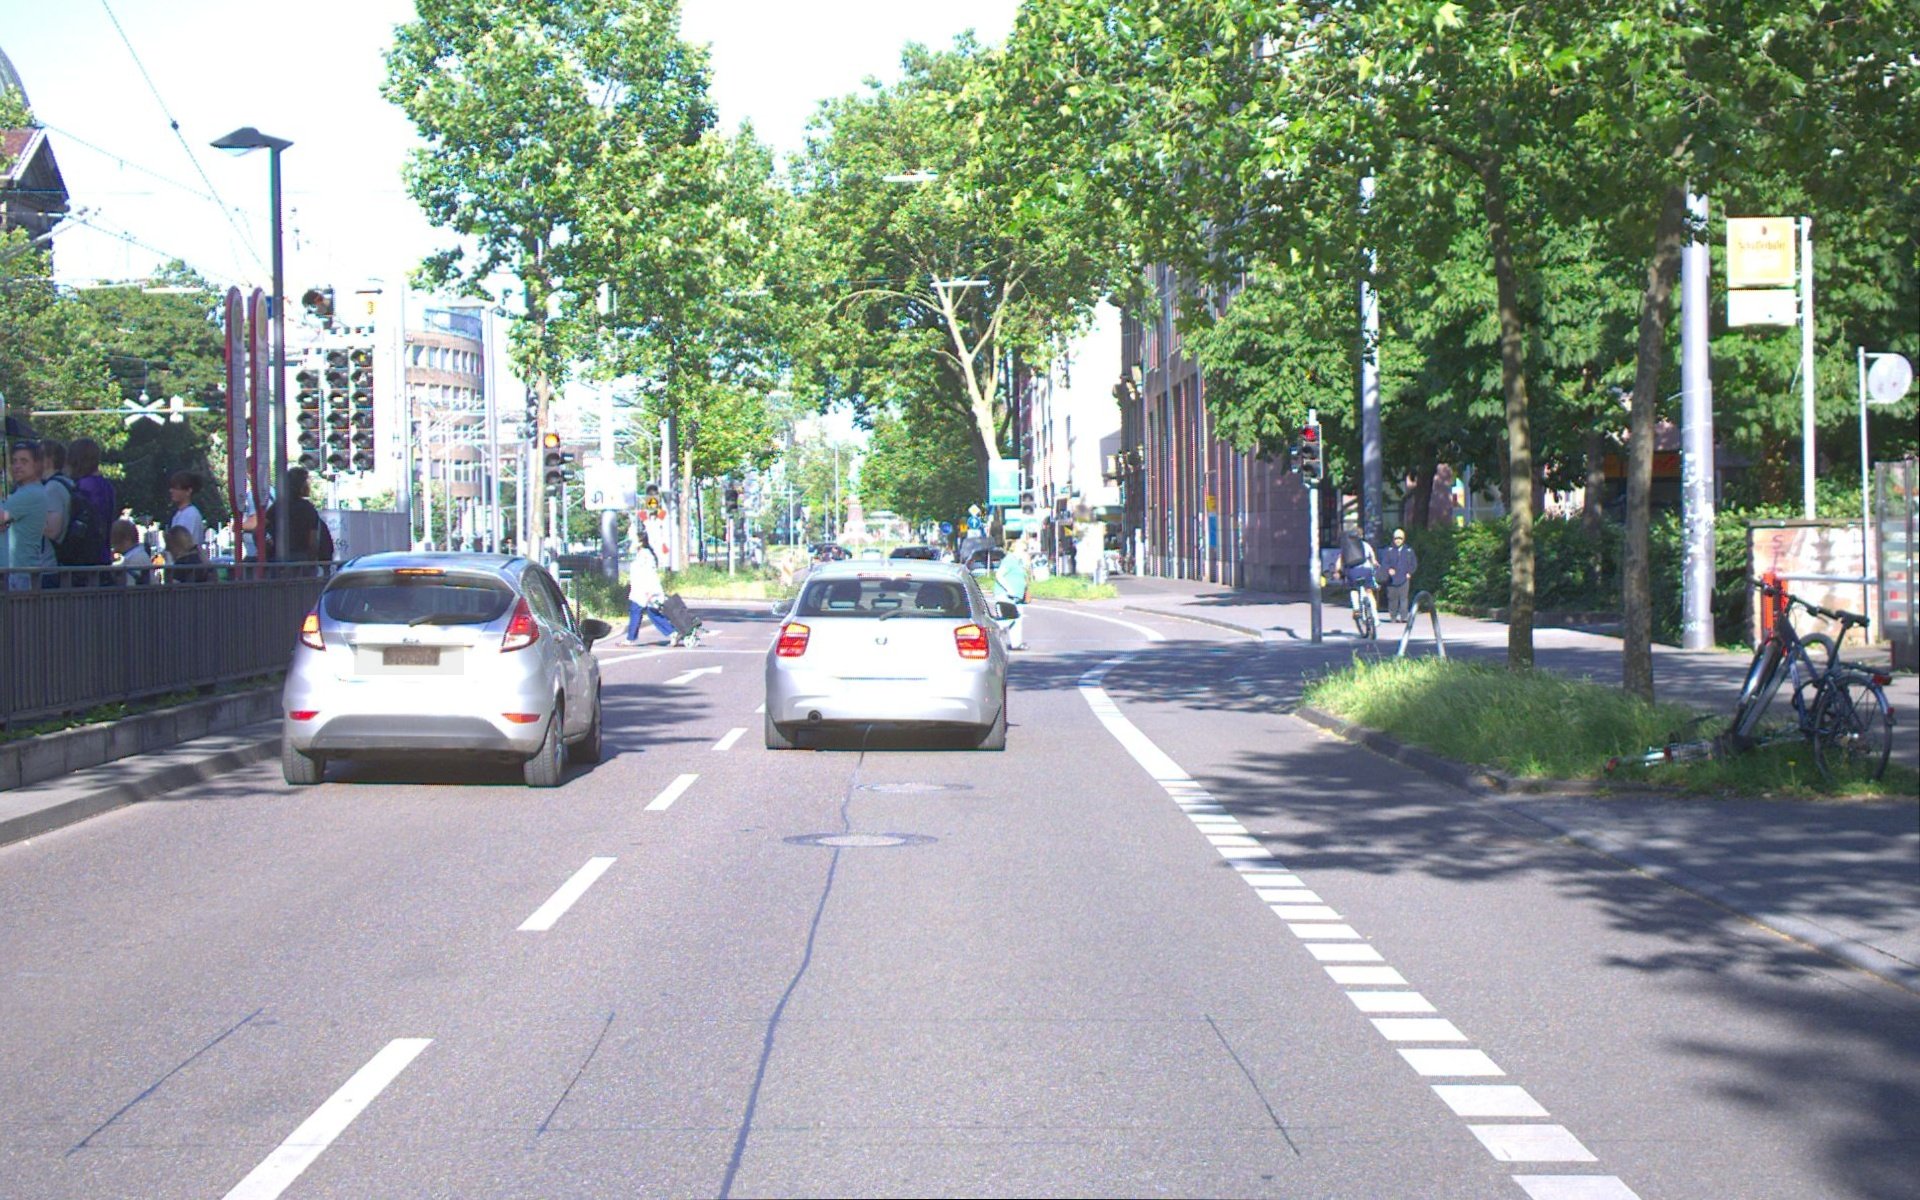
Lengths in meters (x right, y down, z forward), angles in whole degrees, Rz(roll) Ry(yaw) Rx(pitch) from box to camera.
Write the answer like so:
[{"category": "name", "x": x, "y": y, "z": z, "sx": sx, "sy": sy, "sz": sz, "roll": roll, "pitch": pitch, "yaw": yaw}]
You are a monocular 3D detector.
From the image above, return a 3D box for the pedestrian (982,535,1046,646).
[{"category": "pedestrian", "x": 0.776, "y": -0.132, "z": 49.177, "sx": 0.830, "sy": 1.570, "sz": 0.739, "roll": 0, "pitch": 1, "yaw": 7}]

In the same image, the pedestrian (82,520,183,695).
[{"category": "pedestrian", "x": -5.752, "y": 0.044, "z": 23.908, "sx": 0.545, "sy": 1.188, "sz": 0.531, "roll": -2, "pitch": 1, "yaw": -1}]

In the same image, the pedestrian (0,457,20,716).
[{"category": "pedestrian", "x": -6.567, "y": -0.088, "z": 22.682, "sx": 0.514, "sy": 1.702, "sz": 0.621, "roll": -2, "pitch": 1, "yaw": -1}]

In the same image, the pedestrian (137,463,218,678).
[{"category": "pedestrian", "x": -6.290, "y": -0.239, "z": 27.642, "sx": 0.505, "sy": 1.696, "sz": 0.612, "roll": -2, "pitch": 1, "yaw": -4}]

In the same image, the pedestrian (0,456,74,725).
[{"category": "pedestrian", "x": -5.883, "y": -0.059, "z": 21.149, "sx": 0.660, "sy": 1.628, "sz": 0.571, "roll": -1, "pitch": 1, "yaw": 1}]

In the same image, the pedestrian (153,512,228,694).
[{"category": "pedestrian", "x": -5.635, "y": 0.019, "z": 25.176, "sx": 0.415, "sy": 1.311, "sz": 0.507, "roll": -2, "pitch": 1, "yaw": -2}]

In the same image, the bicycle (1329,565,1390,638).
[{"category": "bicycle", "x": 6.096, "y": 0.018, "z": 52.375, "sx": 0.832, "sy": 1.038, "sz": 1.874, "roll": -2, "pitch": 1, "yaw": 8}]

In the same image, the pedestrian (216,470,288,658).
[{"category": "pedestrian", "x": -6.632, "y": -0.339, "z": 32.206, "sx": 0.547, "sy": 1.728, "sz": 0.540, "roll": -2, "pitch": 1, "yaw": -4}]

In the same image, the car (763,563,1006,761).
[{"category": "car", "x": -0.580, "y": 0.423, "z": 26.475, "sx": 1.730, "sy": 1.386, "sz": 3.840, "roll": 0, "pitch": 1, "yaw": -1}]

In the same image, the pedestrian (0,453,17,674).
[{"category": "pedestrian", "x": -7.689, "y": -0.278, "z": 26.505, "sx": 0.632, "sy": 1.696, "sz": 0.747, "roll": -2, "pitch": 1, "yaw": -4}]

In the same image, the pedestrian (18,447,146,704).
[{"category": "pedestrian", "x": -5.887, "y": -0.169, "z": 23.065, "sx": 0.660, "sy": 1.690, "sz": 0.571, "roll": -1, "pitch": 1, "yaw": 1}]

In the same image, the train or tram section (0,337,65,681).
[{"category": "train or tram section", "x": -10.492, "y": -0.864, "z": 28.310, "sx": 2.914, "sy": 3.249, "sz": 13.113, "roll": 1, "pitch": 0, "yaw": -1}]

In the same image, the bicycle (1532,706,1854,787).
[{"category": "bicycle", "x": 4.335, "y": 0.867, "z": 20.490, "sx": 1.608, "sy": 0.352, "sz": 1.389, "roll": -2, "pitch": 1, "yaw": 0}]

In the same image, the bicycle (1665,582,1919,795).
[{"category": "bicycle", "x": 4.846, "y": 0.480, "z": 19.888, "sx": 0.788, "sy": 1.129, "sz": 1.847, "roll": -2, "pitch": 1, "yaw": -13}]

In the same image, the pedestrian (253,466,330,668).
[{"category": "pedestrian", "x": -5.806, "y": -0.290, "z": 29.880, "sx": 0.547, "sy": 1.728, "sz": 0.540, "roll": -2, "pitch": 1, "yaw": -4}]

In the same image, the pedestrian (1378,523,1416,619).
[{"category": "pedestrian", "x": 7.474, "y": -0.498, "z": 58.748, "sx": 0.627, "sy": 1.623, "sz": 0.943, "roll": 0, "pitch": 1, "yaw": 8}]

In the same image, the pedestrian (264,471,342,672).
[{"category": "pedestrian", "x": -5.738, "y": -0.253, "z": 30.026, "sx": 0.538, "sy": 1.728, "sz": 0.550, "roll": -2, "pitch": 1, "yaw": -20}]

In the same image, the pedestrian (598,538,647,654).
[{"category": "pedestrian", "x": -4.764, "y": -0.054, "z": 48.602, "sx": 0.639, "sy": 1.614, "sz": 0.642, "roll": -1, "pitch": -1, "yaw": -4}]

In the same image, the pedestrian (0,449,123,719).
[{"category": "pedestrian", "x": -5.787, "y": -0.106, "z": 22.009, "sx": 0.660, "sy": 1.690, "sz": 0.571, "roll": -1, "pitch": 1, "yaw": 1}]

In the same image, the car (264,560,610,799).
[{"category": "car", "x": -3.284, "y": 0.448, "z": 22.200, "sx": 1.660, "sy": 1.404, "sz": 3.632, "roll": 0, "pitch": 1, "yaw": 0}]

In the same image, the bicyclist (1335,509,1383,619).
[{"category": "bicyclist", "x": 6.102, "y": -0.559, "z": 52.565, "sx": 0.658, "sy": 1.651, "sz": 0.764, "roll": -2, "pitch": 1, "yaw": 8}]

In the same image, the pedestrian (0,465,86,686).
[{"category": "pedestrian", "x": -7.023, "y": -0.186, "z": 26.082, "sx": 0.618, "sy": 1.644, "sz": 0.623, "roll": -2, "pitch": 1, "yaw": -4}]
